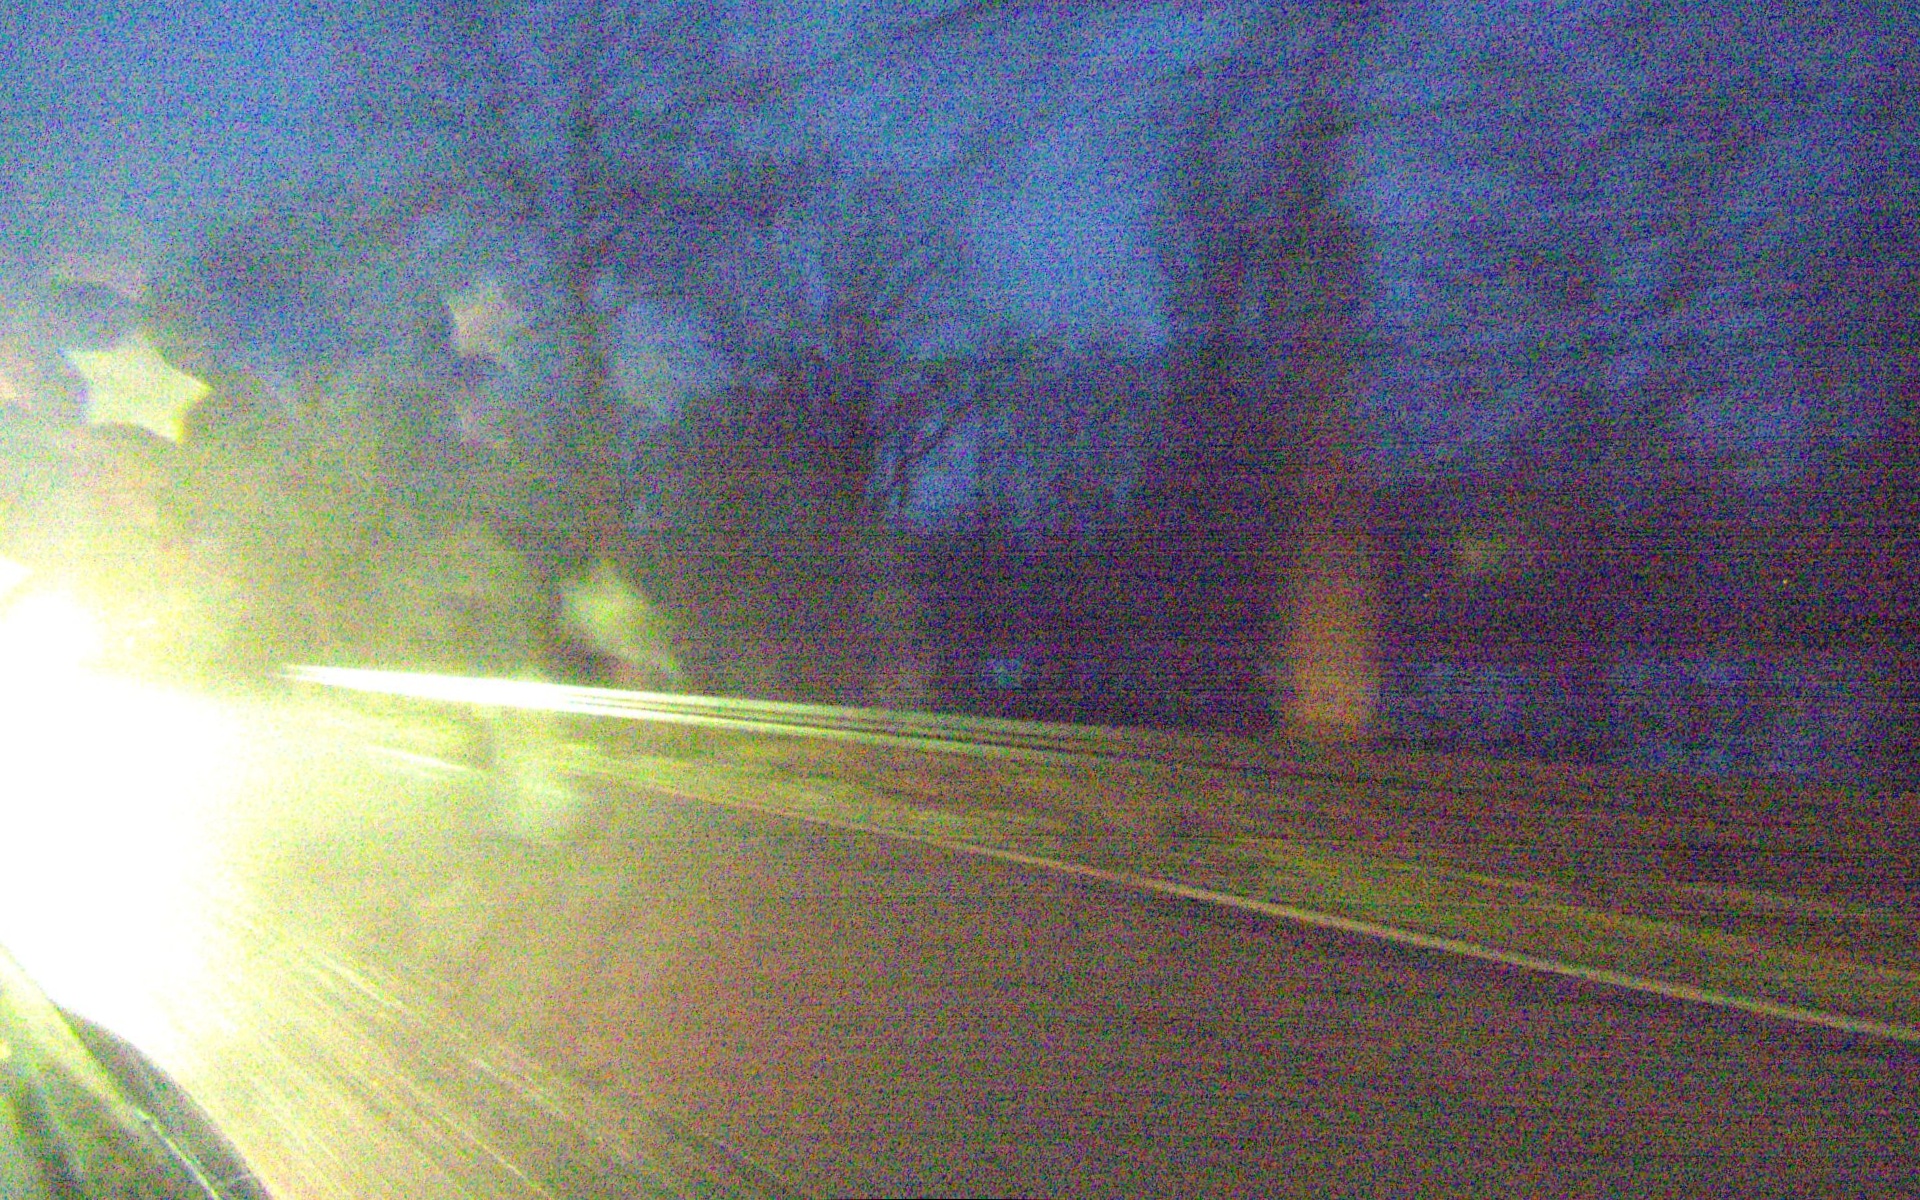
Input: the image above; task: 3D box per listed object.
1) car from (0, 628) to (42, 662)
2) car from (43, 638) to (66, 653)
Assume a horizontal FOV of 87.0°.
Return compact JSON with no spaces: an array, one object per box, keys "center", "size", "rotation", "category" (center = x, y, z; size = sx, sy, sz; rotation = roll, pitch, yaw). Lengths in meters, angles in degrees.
[{"center":[-45.064,2.177,48.416],"size":[1.545,1.537,3.488],"rotation":[4,-5,-44],"category":"car"},{"center":[-94.174,4.737,105.273],"size":[1.575,1.522,3.605],"rotation":[3,-5,-40],"category":"car"}]
